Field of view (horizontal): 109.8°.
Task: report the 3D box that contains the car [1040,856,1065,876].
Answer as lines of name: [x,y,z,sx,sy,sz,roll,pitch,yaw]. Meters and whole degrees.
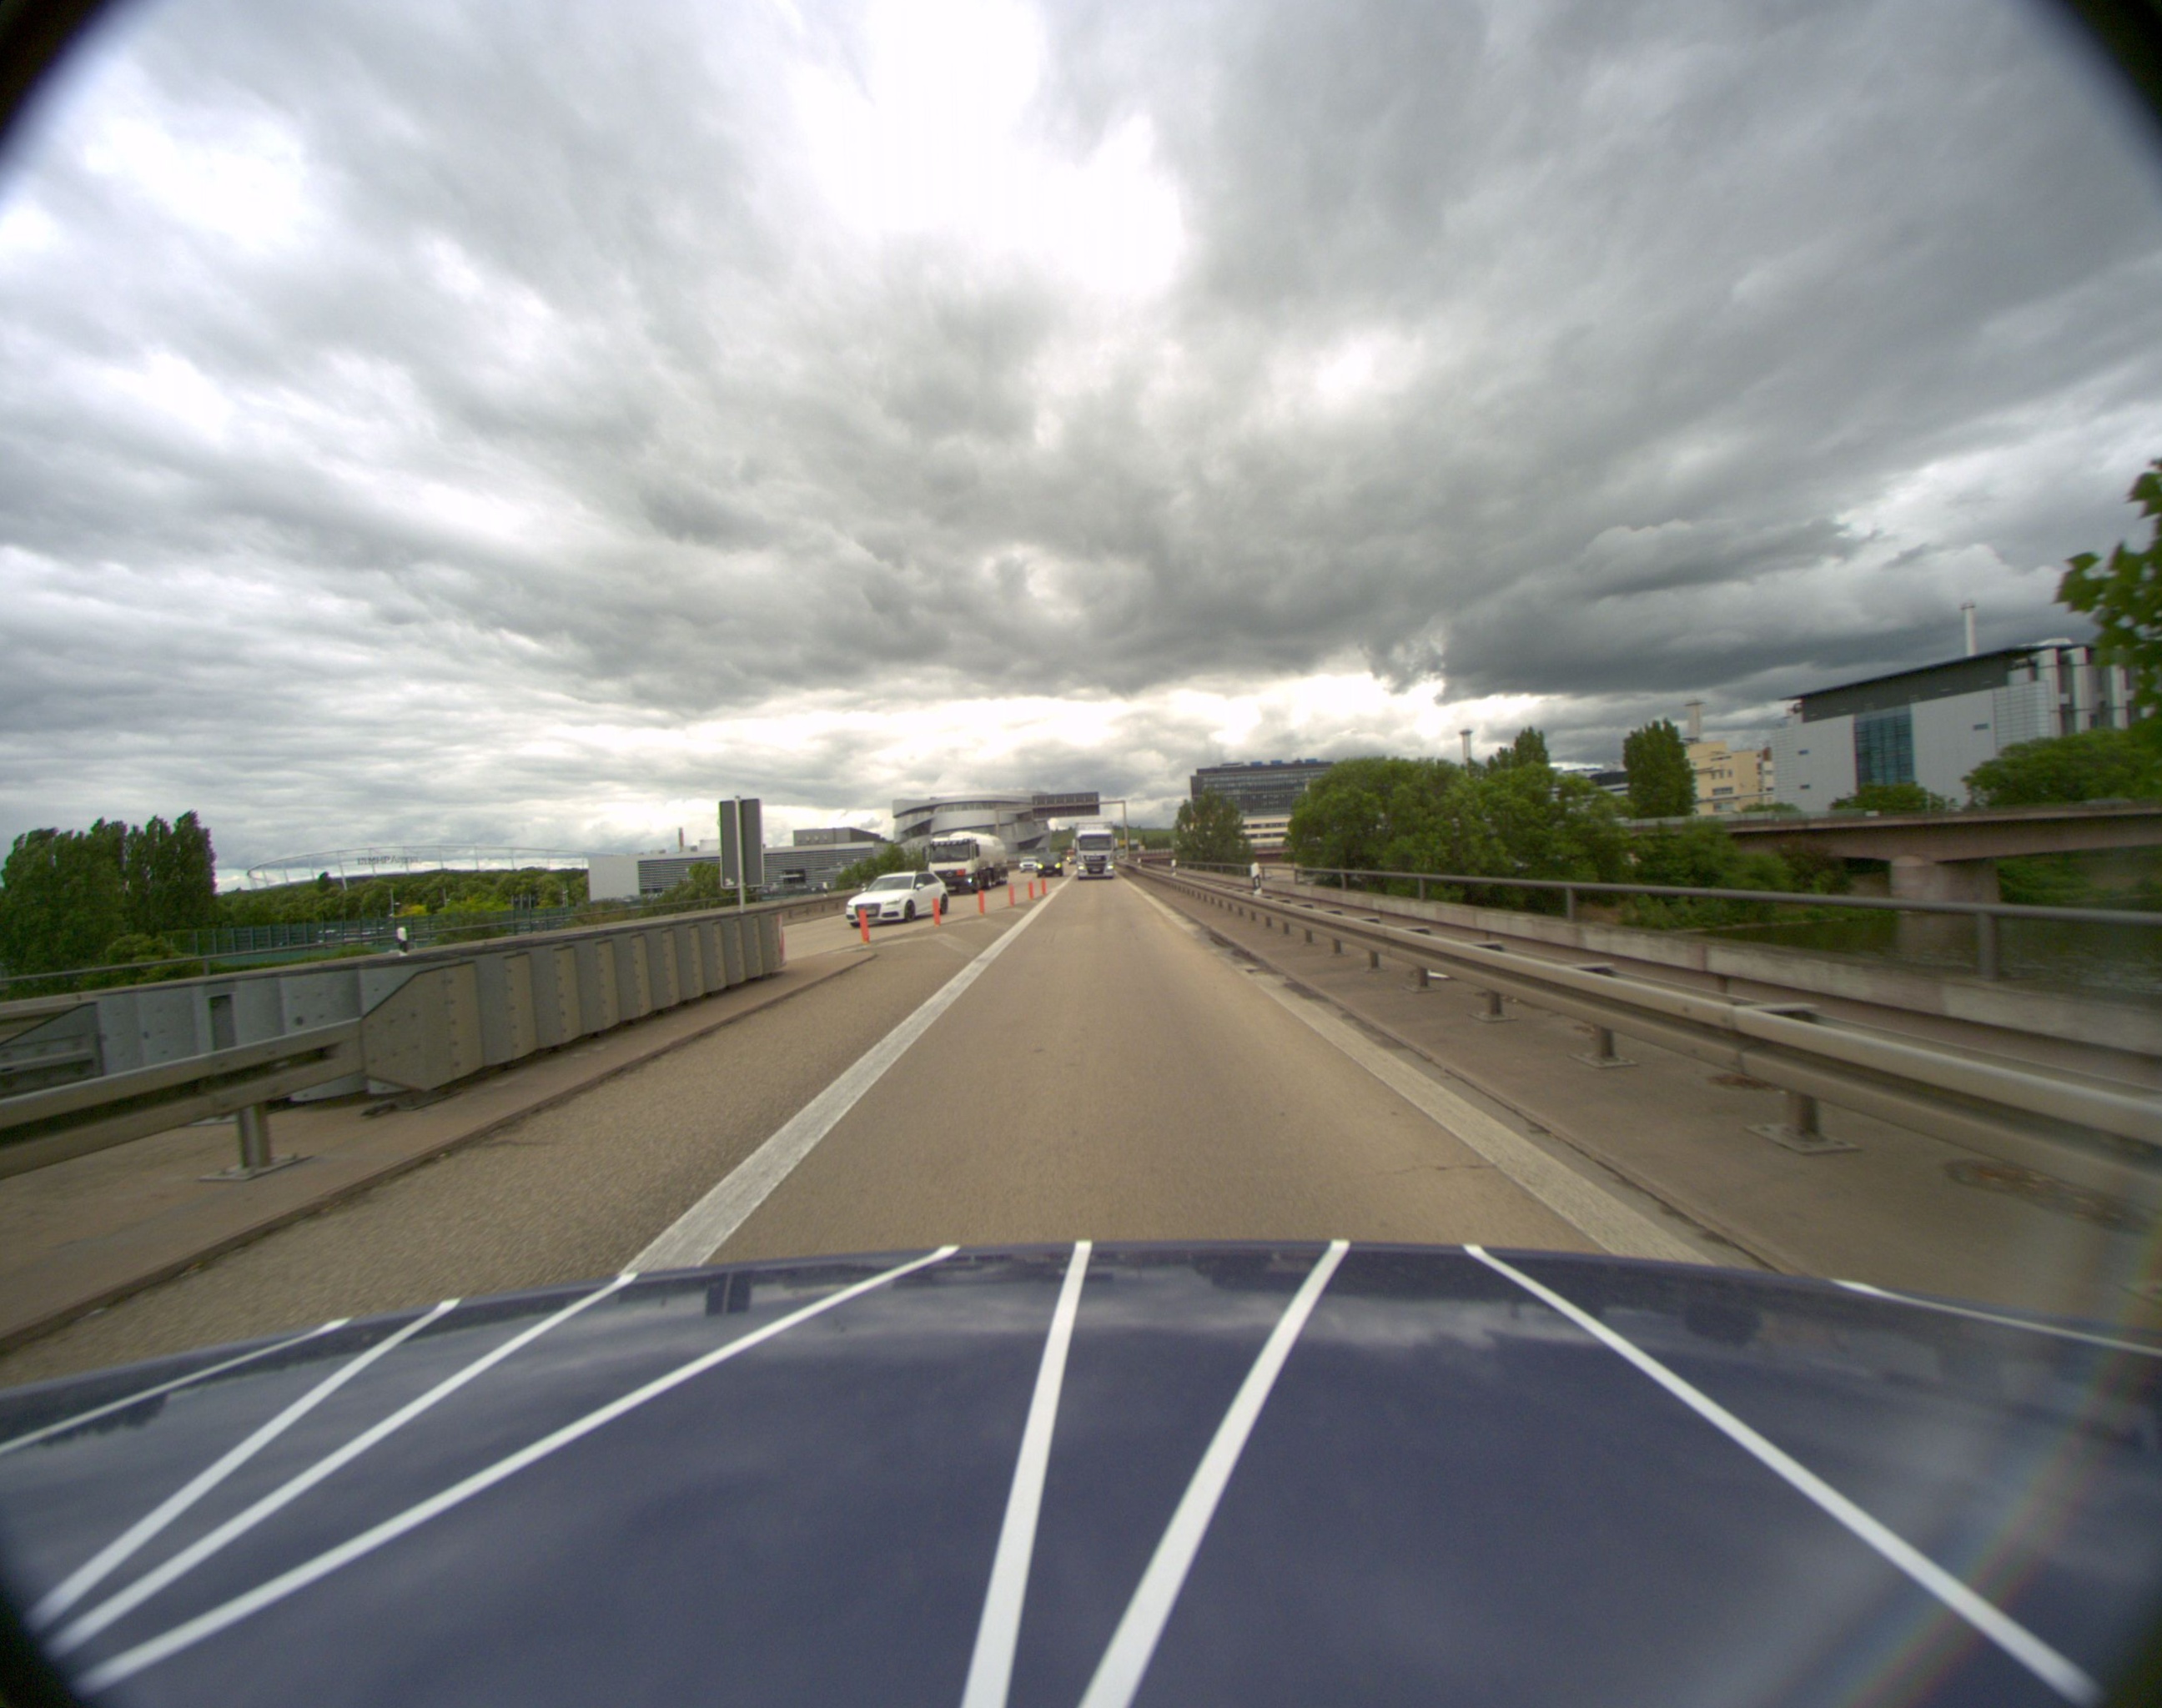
car: [-2.325,0.964,62.531,1.789,1.401,3.801,-2,1,2]

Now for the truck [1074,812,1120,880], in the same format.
truck: [1.166,-0.529,51.222,2.734,4.204,6.201,-2,1,2]

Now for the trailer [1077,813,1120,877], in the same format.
trailer: [1.452,-0.666,57.923,2.746,4.213,13.448,-2,1,2]

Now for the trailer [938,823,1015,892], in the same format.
trailer: [-6.181,0.133,47.054,2.747,3.628,11.005,-2,1,2]

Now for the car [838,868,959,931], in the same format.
car: [-5.310,1.299,22.691,1.787,1.401,3.938,-6,0,13]

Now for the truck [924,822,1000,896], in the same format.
truck: [-6.352,0.198,41.483,2.734,3.625,6.201,-2,1,3]

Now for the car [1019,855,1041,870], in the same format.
car: [-5.390,0.898,81.456,1.928,1.506,3.801,-2,1,2]
